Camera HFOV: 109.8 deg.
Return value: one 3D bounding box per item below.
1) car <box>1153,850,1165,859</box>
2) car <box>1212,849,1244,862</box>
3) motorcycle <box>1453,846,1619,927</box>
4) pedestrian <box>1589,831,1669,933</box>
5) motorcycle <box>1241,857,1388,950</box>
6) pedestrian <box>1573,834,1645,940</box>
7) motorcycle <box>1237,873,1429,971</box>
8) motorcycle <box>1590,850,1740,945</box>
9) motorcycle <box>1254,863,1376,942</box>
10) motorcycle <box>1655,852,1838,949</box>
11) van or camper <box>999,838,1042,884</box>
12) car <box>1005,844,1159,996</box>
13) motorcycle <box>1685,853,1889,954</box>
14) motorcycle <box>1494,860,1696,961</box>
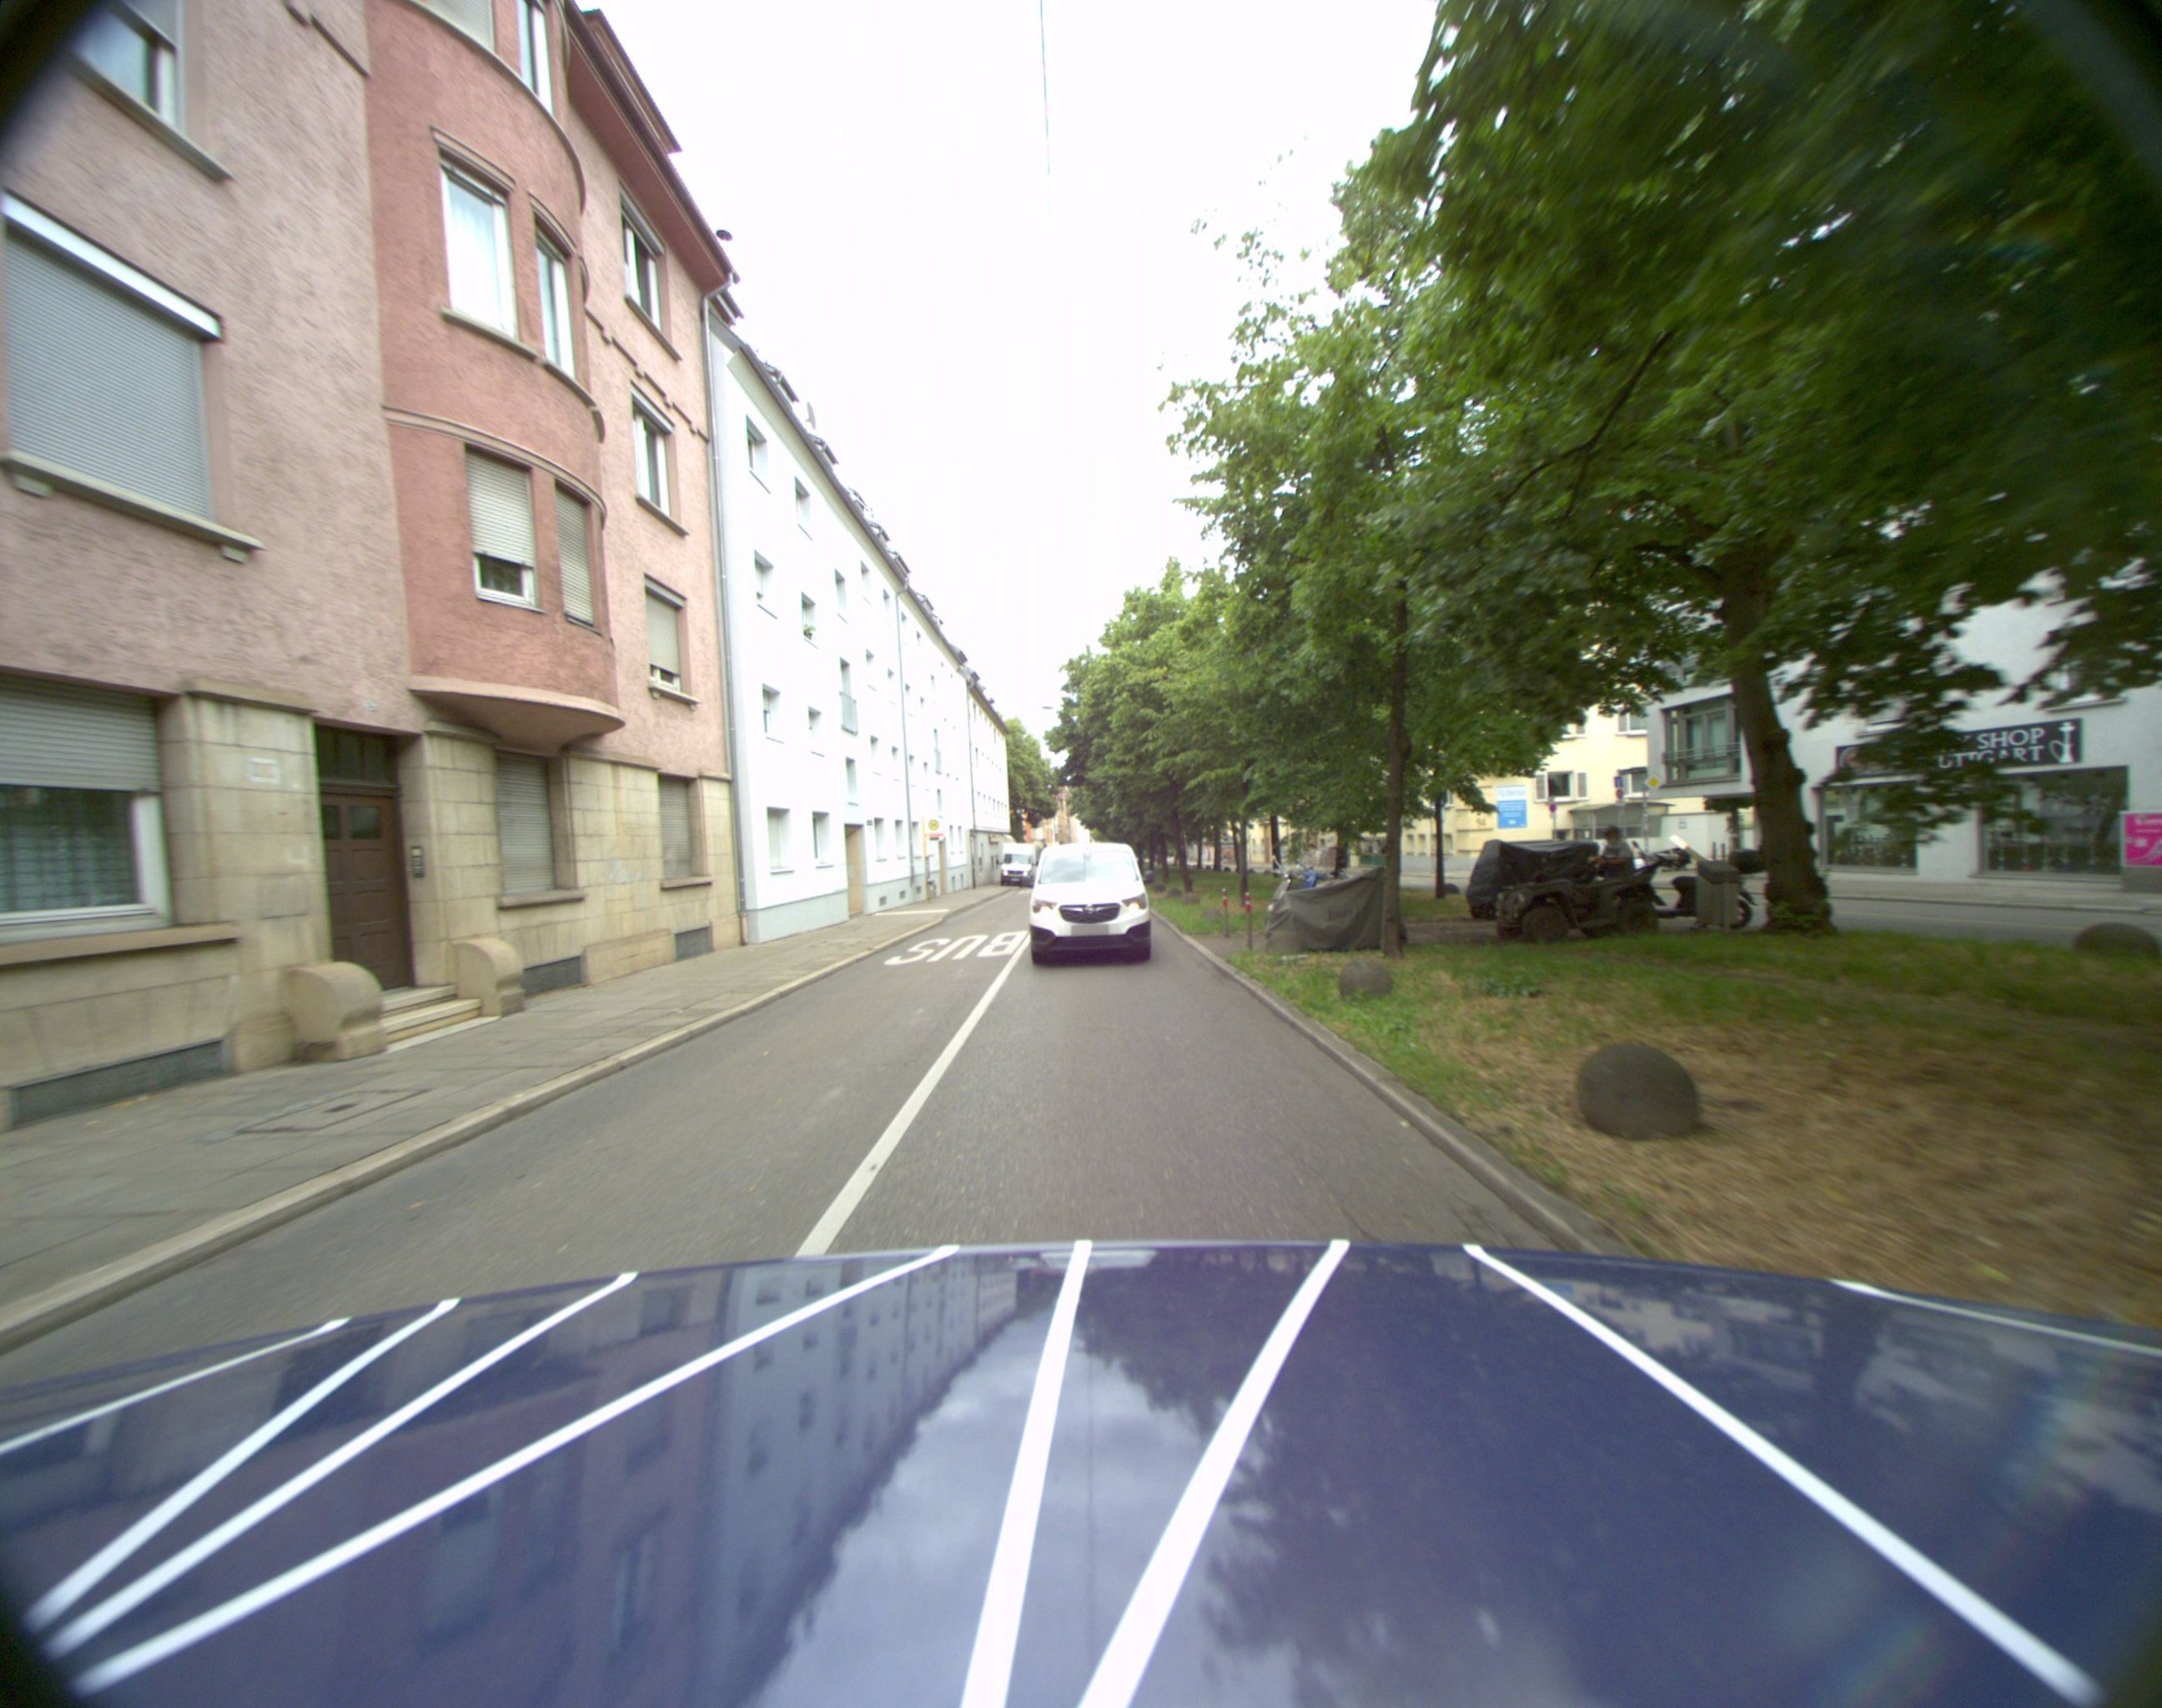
[{"bbox_3d":[16.171,0.129,156.884,1.954,1.619,4.365,-2,-1,0],"label":"car"},{"bbox_3d":[21.574,0.220,111.496,4.298,1.411,2.048,-5,-1,3],"label":"car"},{"bbox_3d":[8.299,0.574,13.952,2.388,1.309,1.045,-3,0,-1],"label":"motorcycle"},{"bbox_3d":[9.083,0.459,12.618,0.636,1.603,0.764,-4,0,-7],"label":"pedestrian"},{"bbox_3d":[3.959,0.820,13.030,2.199,1.430,0.874,-3,0,3],"label":"motorcycle"},{"bbox_3d":[8.354,0.511,12.041,0.664,1.606,0.579,-3,0,-2],"label":"pedestrian"},{"bbox_3d":[3.568,0.946,10.952,2.361,1.228,1.033,-3,-1,-1],"label":"motorcycle"},{"bbox_3d":[8.715,0.633,11.375,1.767,1.331,0.624,-2,1,-1],"label":"motorcycle"},{"bbox_3d":[4.259,0.860,13.943,1.929,1.289,0.893,-2,2,-1],"label":"motorcycle"},{"bbox_3d":[9.398,0.642,10.769,2.115,1.228,0.516,-3,0,-1],"label":"motorcycle"},{"bbox_3d":[-3.970,0.448,51.174,2.487,2.786,7.236,-3,0,-2],"label":"van or camper"},{"bbox_3d":[0.221,0.827,11.614,1.745,1.830,4.345,-3,0,7],"label":"car"},{"bbox_3d":[9.354,0.639,10.112,2.136,1.228,0.622,-2,1,0],"label":"motorcycle"},{"bbox_3d":[6.866,0.741,10.252,2.033,1.228,0.897,-3,0,6],"label":"motorcycle"}]
